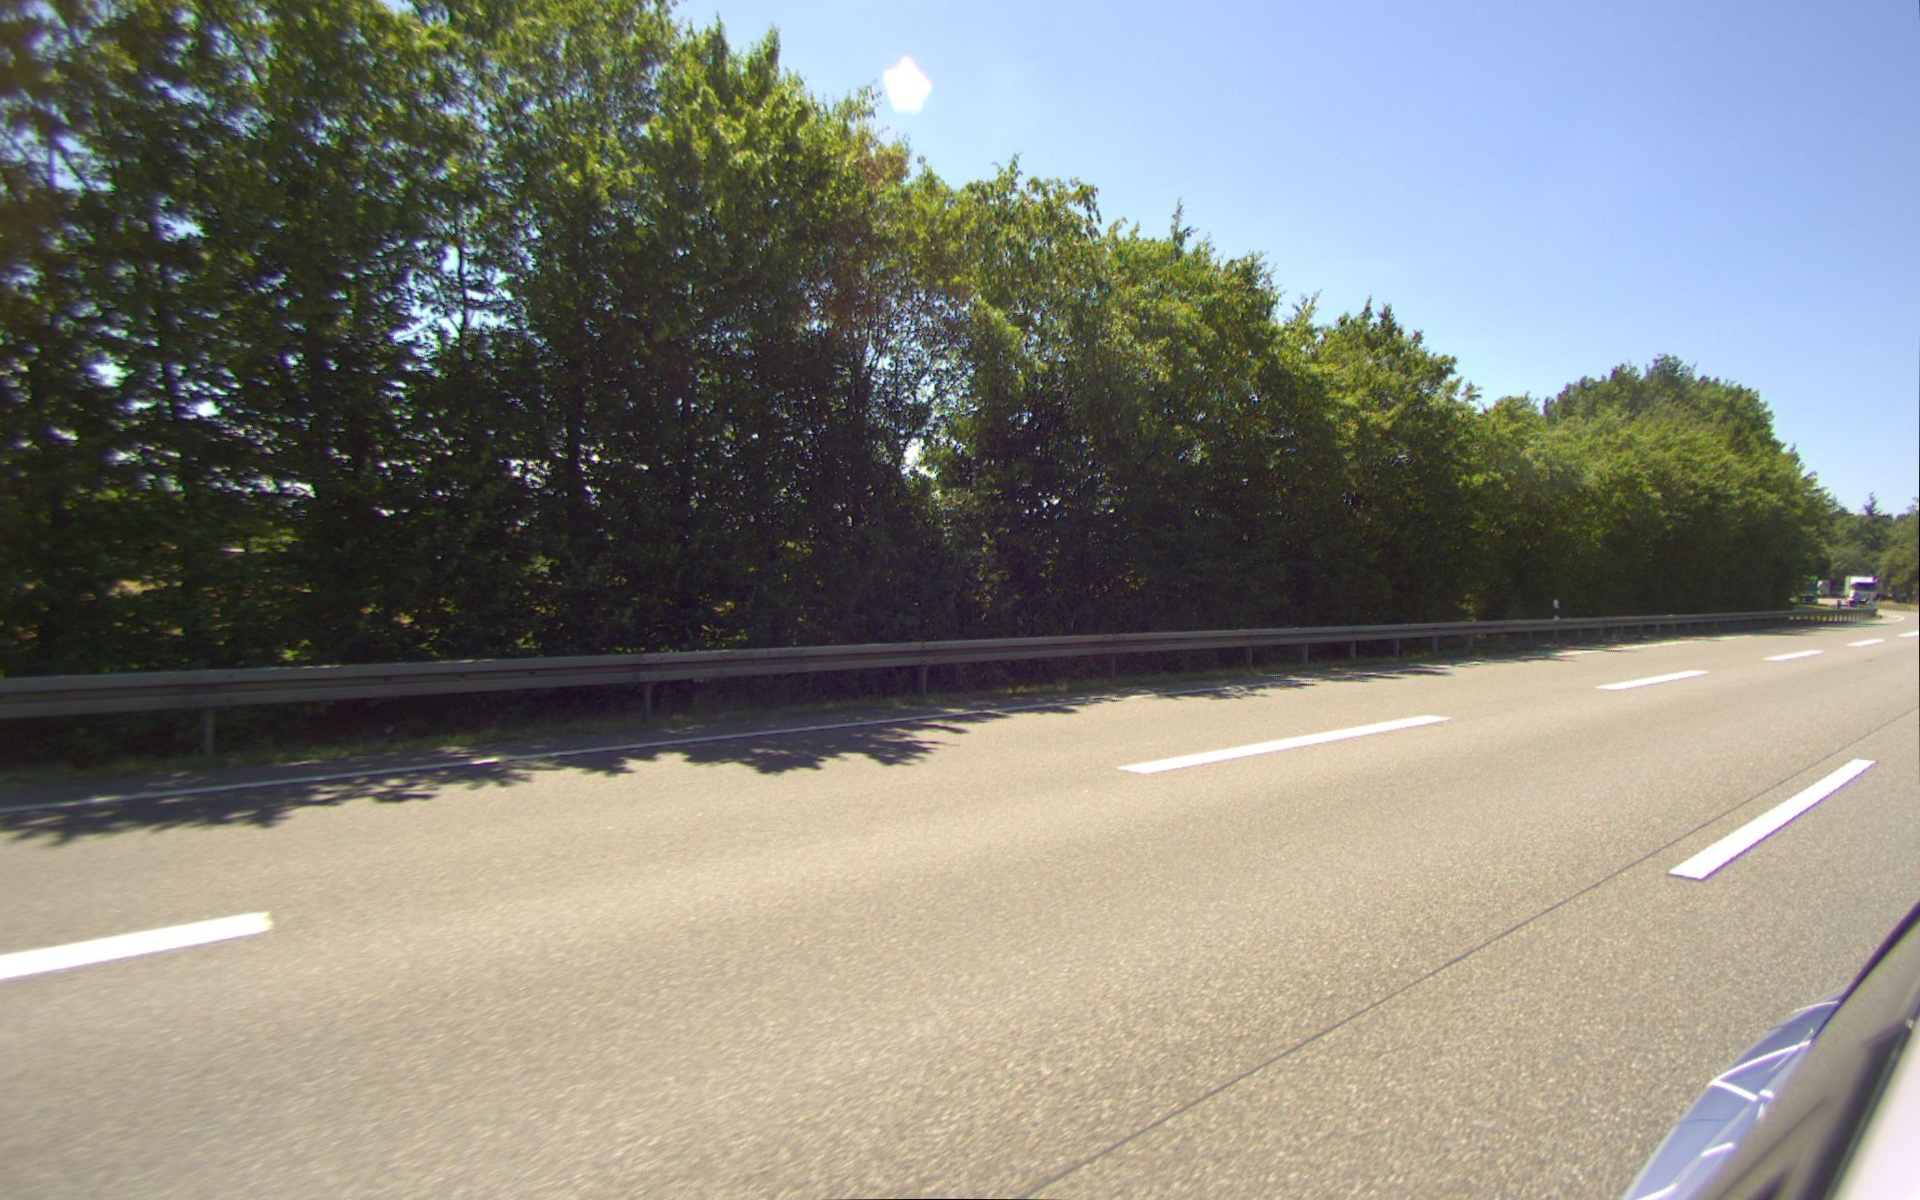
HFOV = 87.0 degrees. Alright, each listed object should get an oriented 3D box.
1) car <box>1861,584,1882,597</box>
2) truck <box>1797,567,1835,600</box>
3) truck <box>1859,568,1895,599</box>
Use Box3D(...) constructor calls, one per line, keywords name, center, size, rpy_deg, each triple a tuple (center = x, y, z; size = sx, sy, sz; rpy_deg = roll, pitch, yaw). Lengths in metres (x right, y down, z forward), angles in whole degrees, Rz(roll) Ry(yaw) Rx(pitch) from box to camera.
Box3D(name="car", center=(129.916, -1.359, 144.206), size=(1.995, 1.731, 4.604), rpy_deg=(5, 4, 45))
Box3D(name="truck", center=(115.094, -2.133, 136.160), size=(3.374, 4.312, 6.531), rpy_deg=(0, 0, 36))
Box3D(name="truck", center=(137.673, -2.494, 152.028), size=(3.376, 4.519, 7.287), rpy_deg=(0, 0, 38))
